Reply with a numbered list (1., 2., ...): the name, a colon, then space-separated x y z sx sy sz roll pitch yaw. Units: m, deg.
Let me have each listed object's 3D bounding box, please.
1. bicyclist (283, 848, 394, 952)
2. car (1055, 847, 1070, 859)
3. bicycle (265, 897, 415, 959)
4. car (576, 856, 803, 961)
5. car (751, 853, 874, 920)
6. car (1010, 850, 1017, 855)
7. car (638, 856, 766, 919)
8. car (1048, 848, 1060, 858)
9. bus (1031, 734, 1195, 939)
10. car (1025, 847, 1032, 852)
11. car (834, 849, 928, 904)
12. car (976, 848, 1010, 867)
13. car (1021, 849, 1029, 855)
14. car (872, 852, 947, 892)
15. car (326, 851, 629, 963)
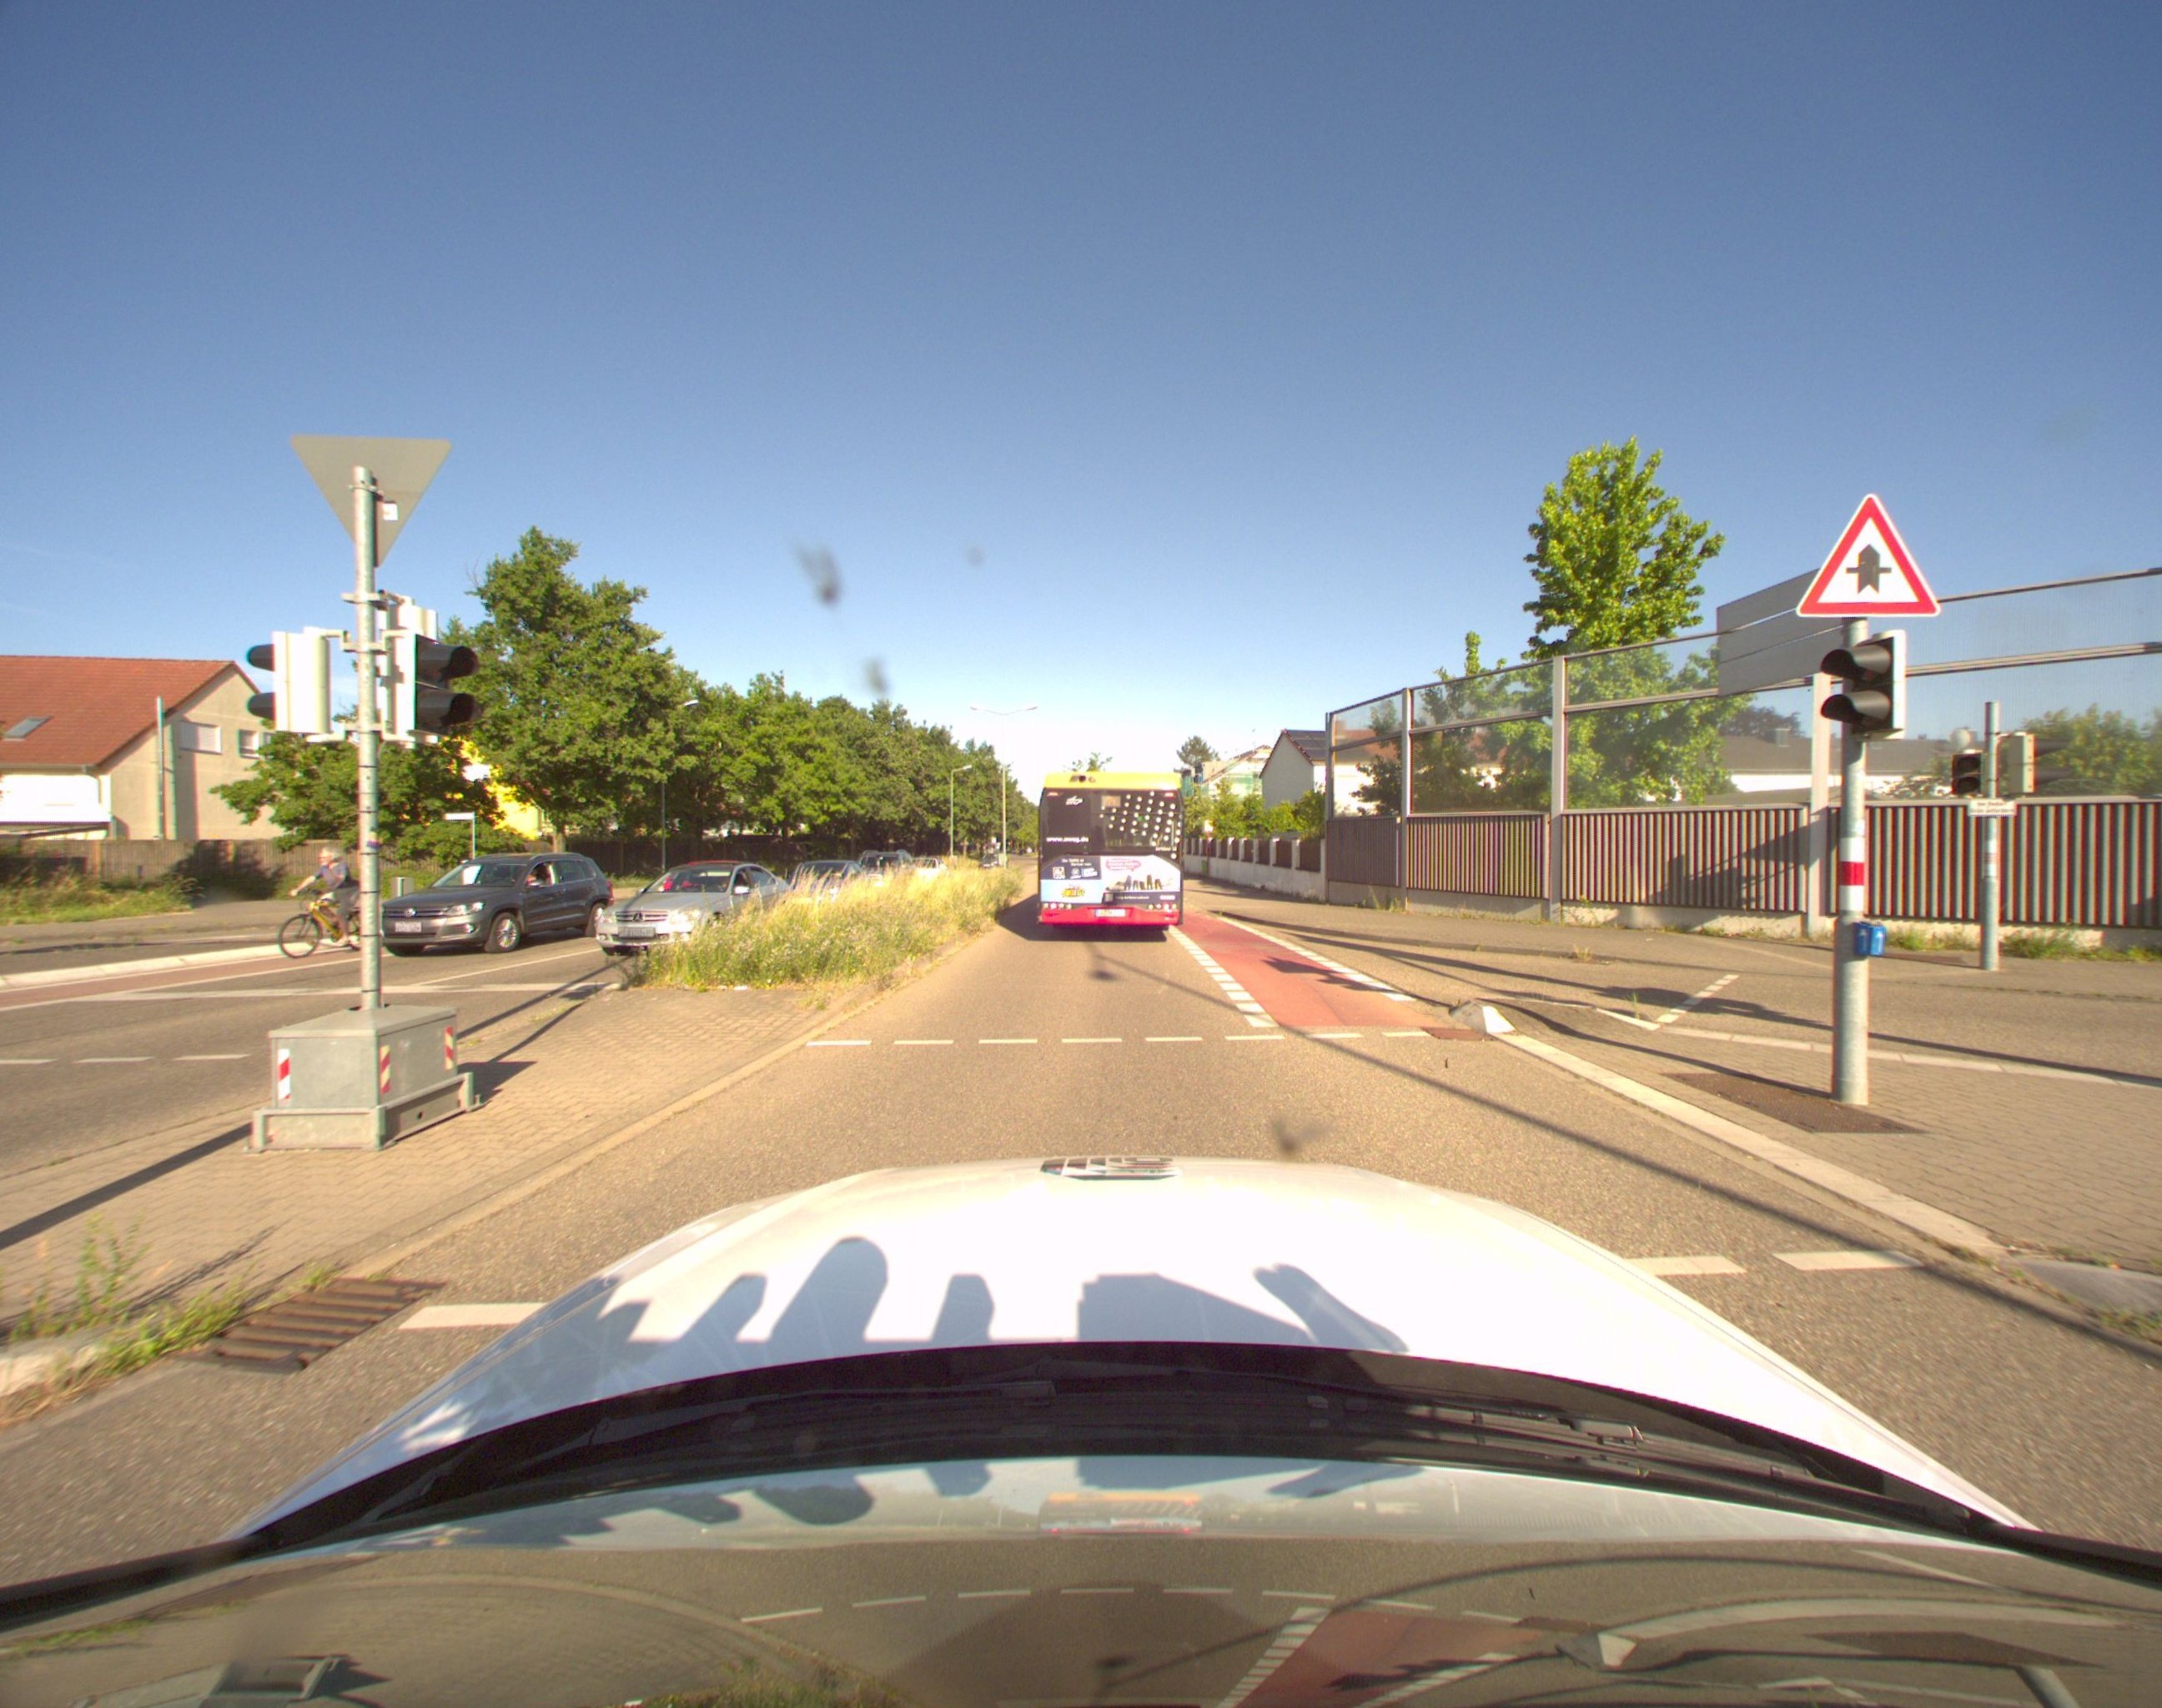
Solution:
1. bicyclist: -12.716 0.750 13.990 0.742 1.702 1.242 0 0 0
2. car: -2.740 -0.126 121.782 1.933 1.704 3.992 0 0 -6
3. bicycle: -12.707 1.237 14.058 0.746 0.847 1.990 0 1 0
4. car: -6.689 0.828 14.579 1.787 1.506 4.531 -1 1 1
5. car: -6.689 0.740 20.726 1.741 1.483 3.889 -1 1 1
6. car: -19.722 -0.316 237.986 1.931 1.454 3.991 0 0 -7
7. car: -10.065 0.825 21.938 1.639 1.483 3.714 -1 1 1
8. car: -4.739 -0.199 143.978 1.931 1.742 3.992 0 0 -6
9. bus: 0.710 -0.280 20.068 2.747 3.458 12.401 -1 0 2
10. car: -15.393 -1.282 238.452 1.931 1.454 3.991 0 0 -7
11. car: -6.528 0.676 27.113 1.987 1.616 4.530 -1 1 0
12. car: -7.179 0.257 66.532 1.699 1.430 4.010 -2 0 9
13. car: -14.679 -0.465 212.430 1.931 1.542 3.992 0 0 -6
14. car: -6.695 0.696 32.205 1.987 1.450 4.398 -1 -1 0
15. car: -10.464 0.792 14.683 1.986 1.644 4.531 -1 1 1
